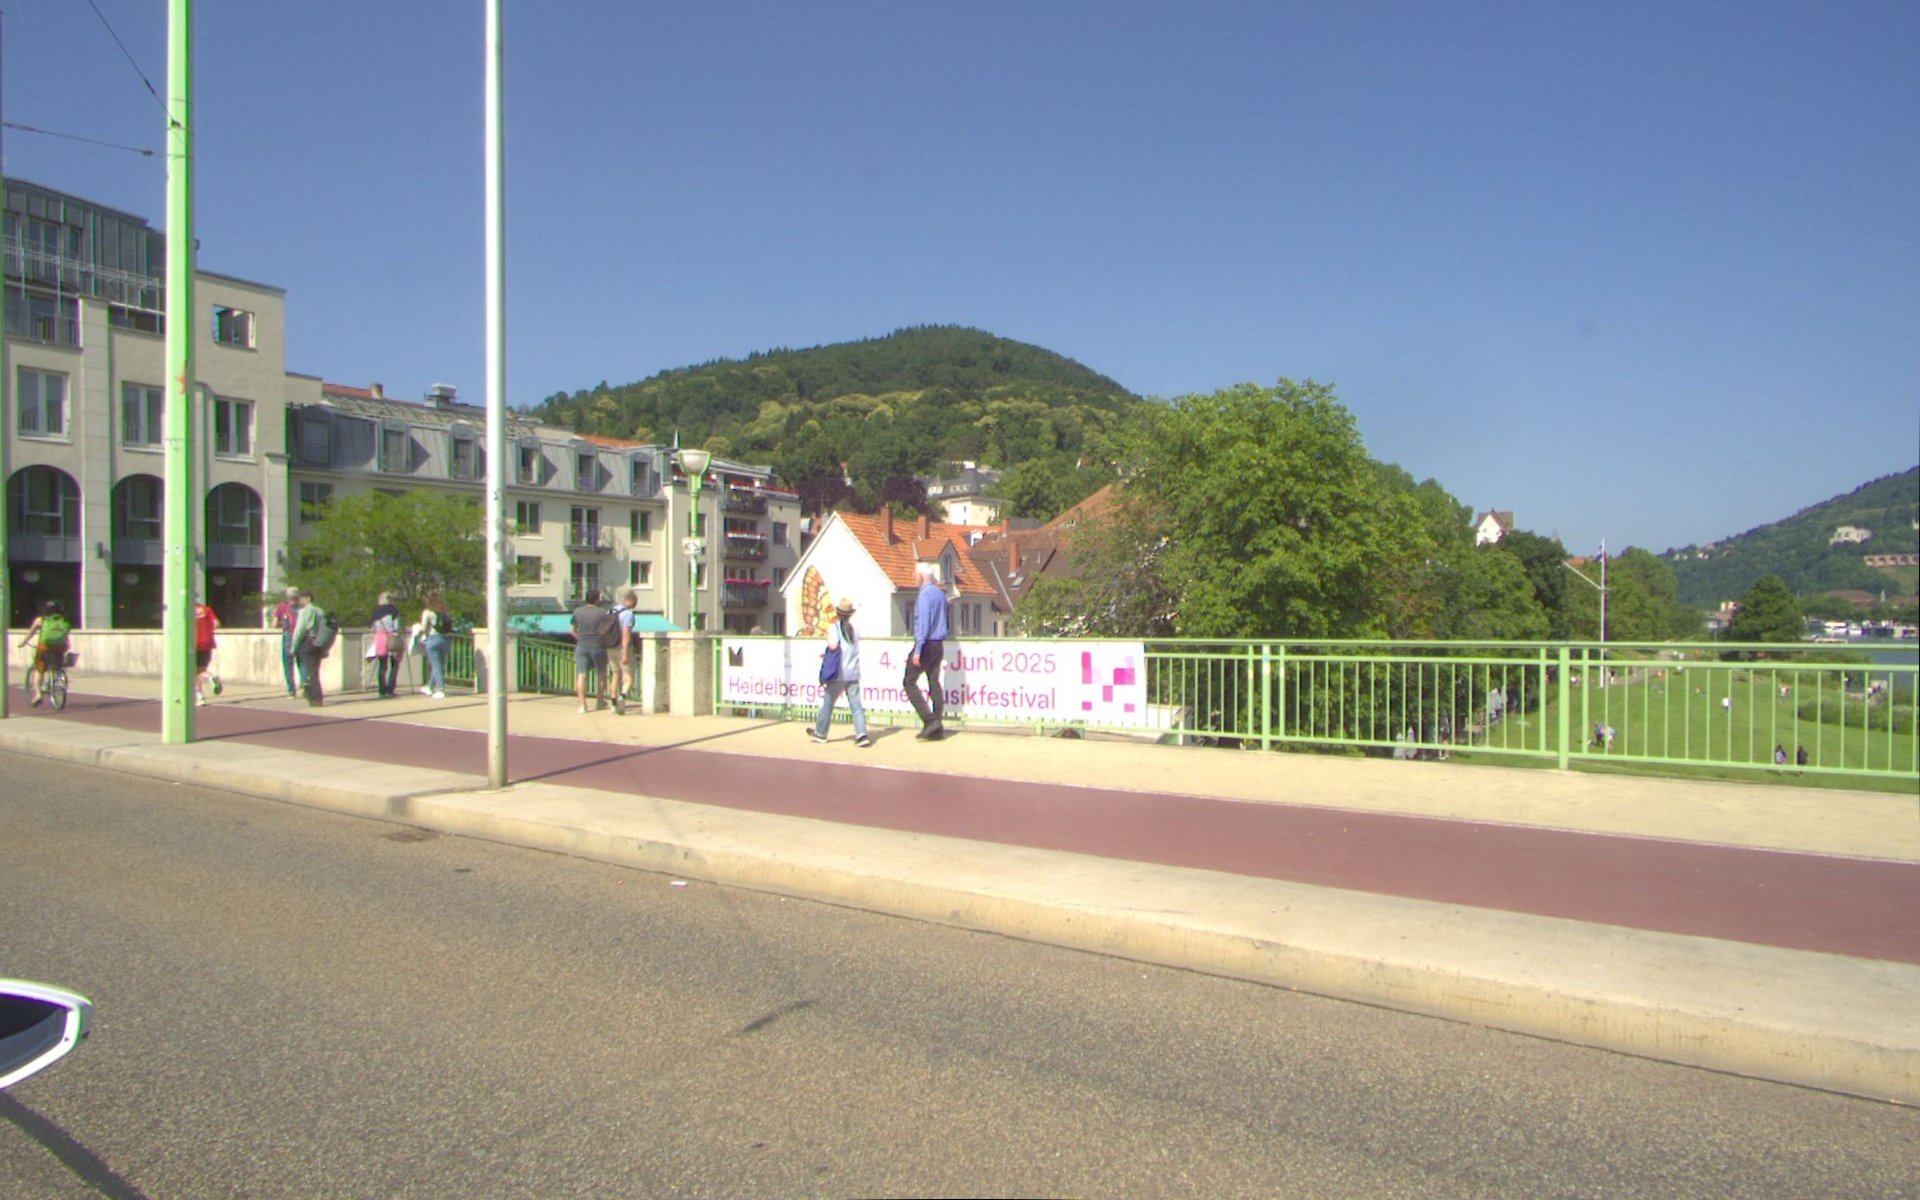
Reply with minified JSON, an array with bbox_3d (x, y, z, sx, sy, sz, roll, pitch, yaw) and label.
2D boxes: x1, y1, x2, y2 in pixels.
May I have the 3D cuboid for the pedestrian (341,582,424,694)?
[{"bbox_3d":[-9.601,0.605,16.655,1.000,1.801,0.738,0,1,29],"label":"pedestrian"}]

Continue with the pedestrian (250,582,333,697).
[{"bbox_3d":[-10.973,0.629,16.432,1.001,1.826,0.737,0,1,32],"label":"pedestrian"}]

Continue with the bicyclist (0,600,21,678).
[{"bbox_3d":[-19.858,0.798,20.594,0.691,1.579,0.586,0,1,30],"label":"bicyclist"}]

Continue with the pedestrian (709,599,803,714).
[{"bbox_3d":[-3.347,0.892,16.497,0.965,1.801,1.202,0,1,27],"label":"pedestrian"}]

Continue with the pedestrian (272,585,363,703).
[{"bbox_3d":[-9.843,0.652,15.344,1.058,1.741,0.753,0,1,32],"label":"pedestrian"}]

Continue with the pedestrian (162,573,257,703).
[{"bbox_3d":[-11.748,0.574,15.671,1.111,1.950,0.809,0,1,32],"label":"pedestrian"}]

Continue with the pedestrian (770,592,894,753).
[{"bbox_3d":[-1.305,0.700,10.263,0.919,1.550,0.827,0,1,32],"label":"pedestrian"}]

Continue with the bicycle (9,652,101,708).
[{"bbox_3d":[-14.197,1.227,15.697,1.840,0.776,0.592,-1,1,33],"label":"bicycle"}]

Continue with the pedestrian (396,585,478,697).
[{"bbox_3d":[-8.571,0.647,16.417,1.000,1.770,0.738,0,1,29],"label":"pedestrian"}]

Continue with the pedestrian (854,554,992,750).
[{"bbox_3d":[-0.380,0.514,10.485,1.121,1.923,0.924,0,1,32],"label":"pedestrian"}]

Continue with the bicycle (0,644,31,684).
[{"bbox_3d":[-19.909,1.312,20.634,1.804,0.776,0.593,-1,1,30],"label":"bicycle"}]

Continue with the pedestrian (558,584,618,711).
[{"bbox_3d":[-5.323,0.653,14.363,0.729,1.741,1.013,-1,1,-20],"label":"pedestrian"}]

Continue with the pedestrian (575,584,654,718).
[{"bbox_3d":[-4.662,0.664,13.566,0.727,1.741,1.016,0,0,-2],"label":"pedestrian"}]

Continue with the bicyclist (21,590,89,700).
[{"bbox_3d":[-14.142,0.693,15.646,0.692,1.672,0.603,0,1,33],"label":"bicyclist"}]
